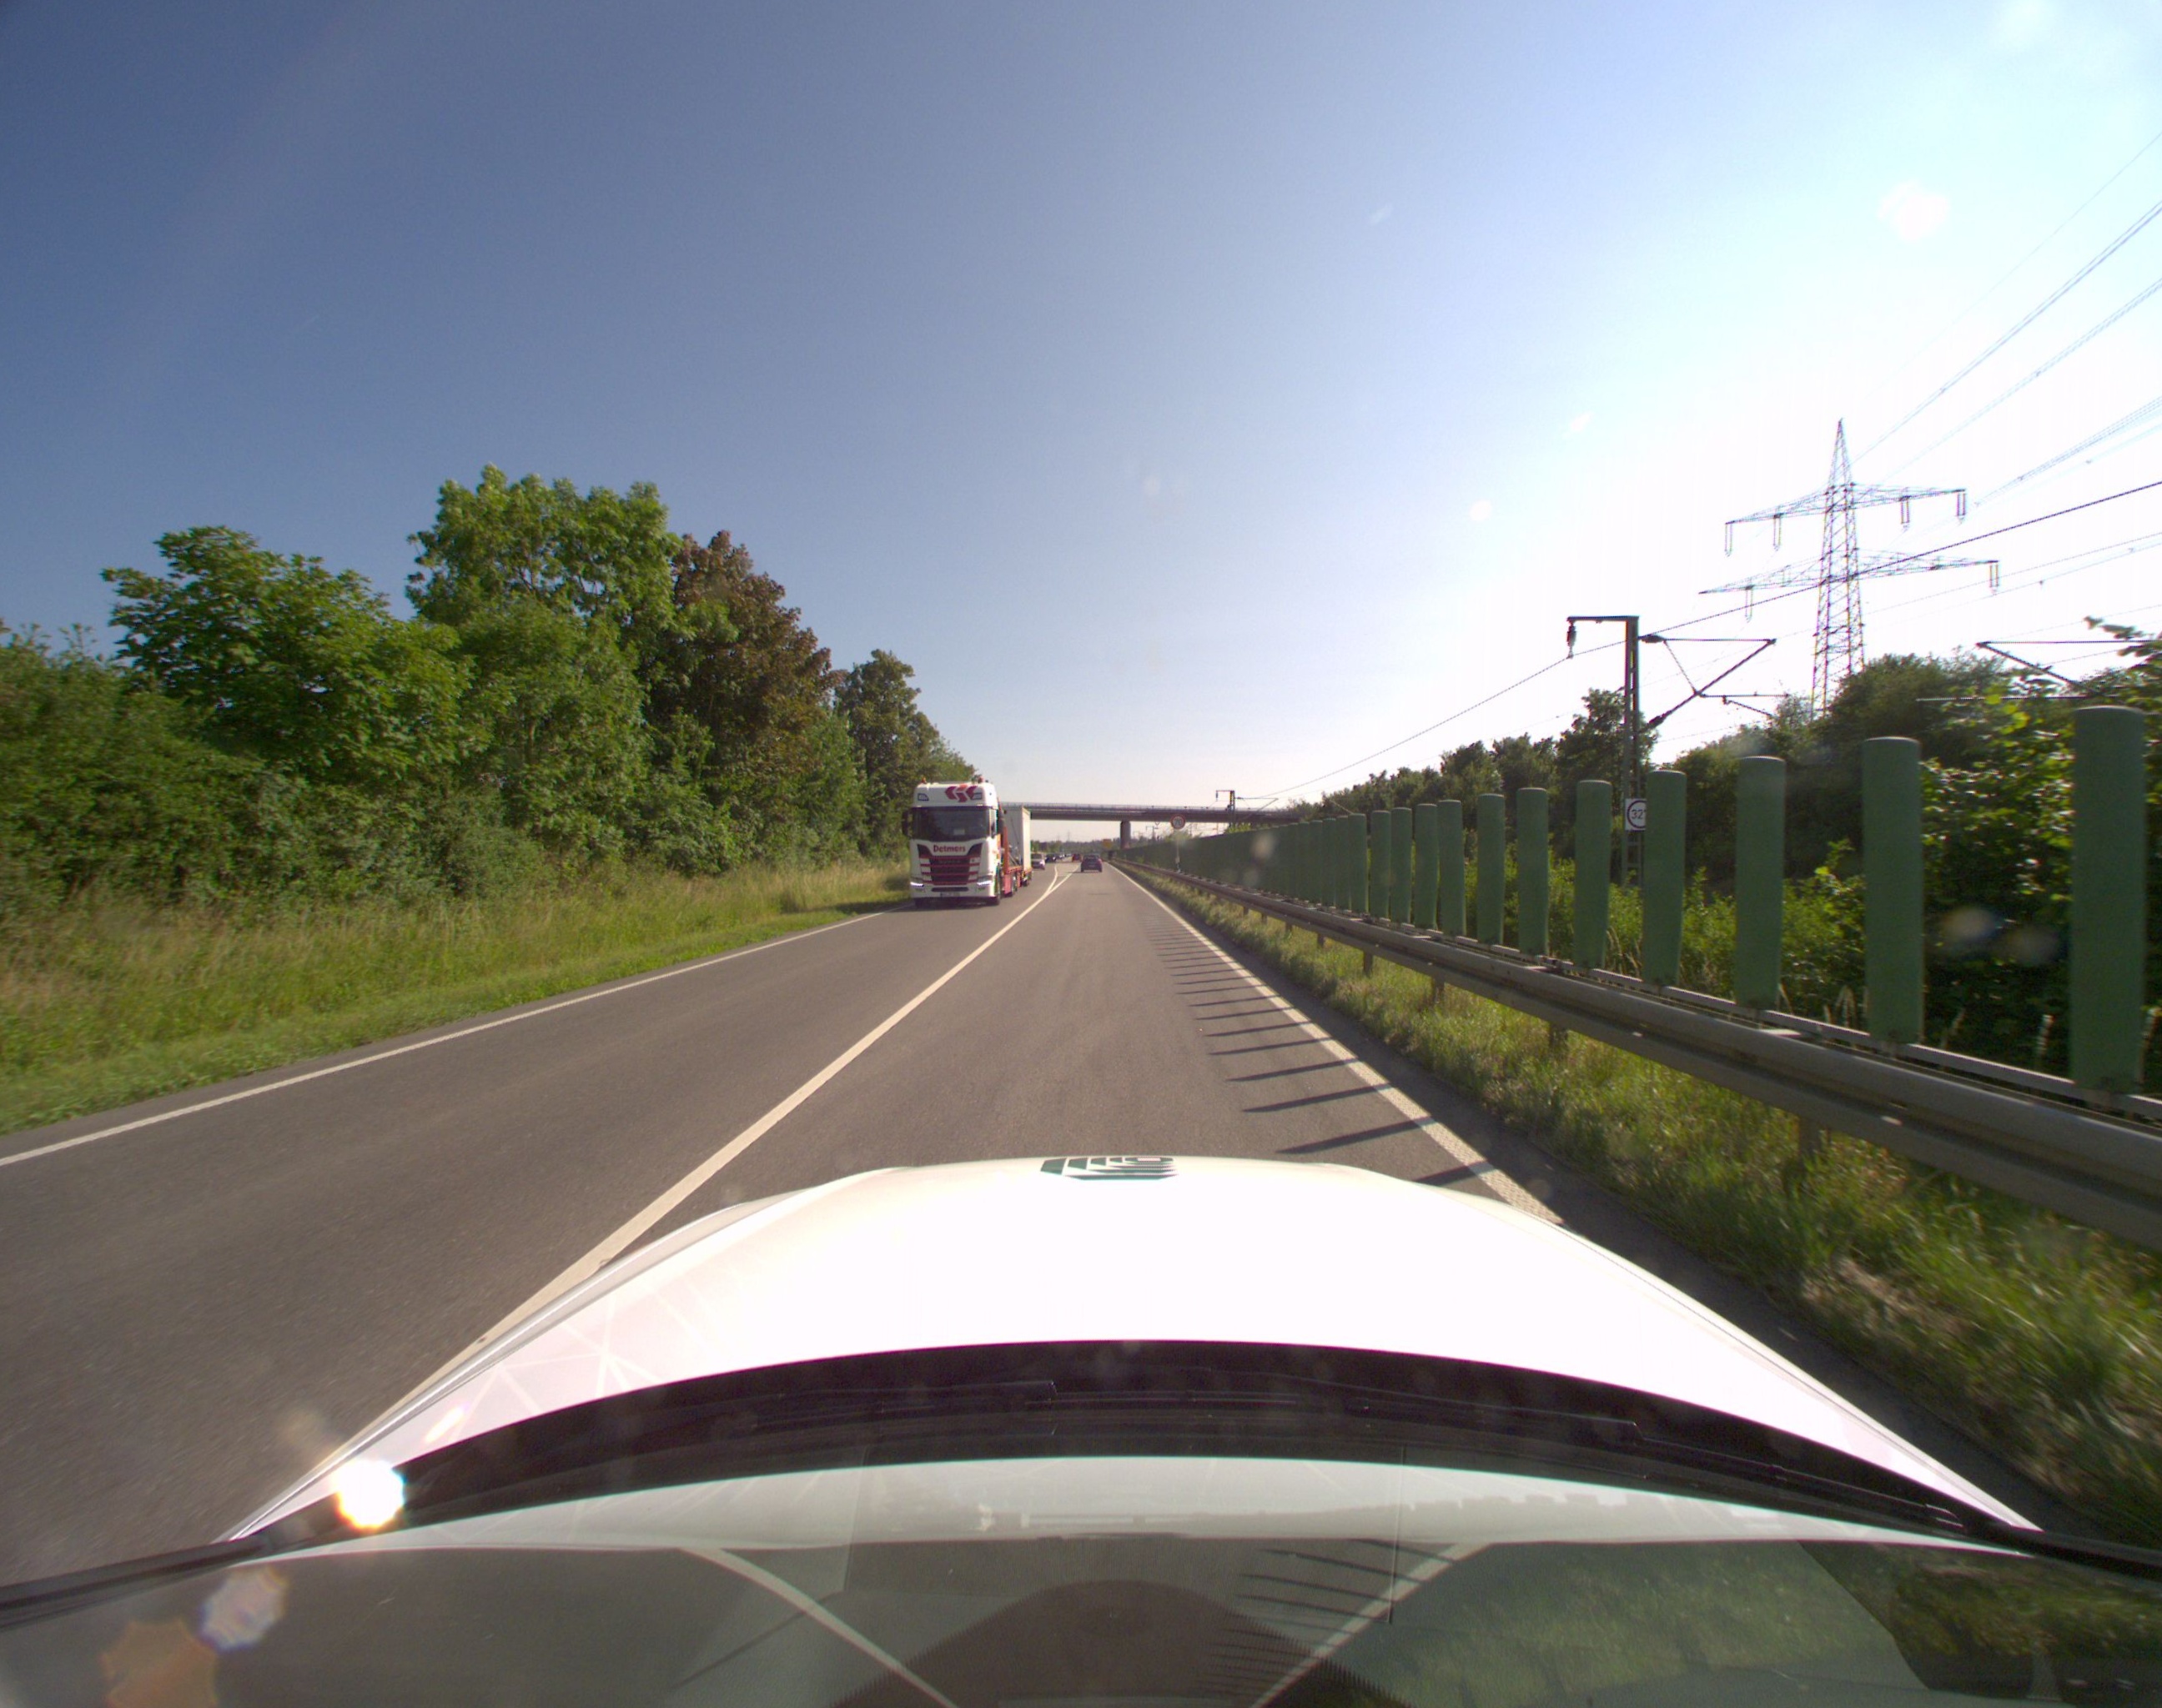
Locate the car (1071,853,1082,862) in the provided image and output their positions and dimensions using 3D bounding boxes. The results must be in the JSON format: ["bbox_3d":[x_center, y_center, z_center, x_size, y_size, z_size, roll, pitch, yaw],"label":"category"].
[{"bbox_3d":[-0.739,0.640,143.399,1.888,1.418,4.000,-1,0,0],"label":"car"}]

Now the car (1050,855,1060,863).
[{"bbox_3d":[-5.541,1.008,172.946,1.917,1.593,4.426,0,0,-2],"label":"car"}]

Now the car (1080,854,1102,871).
[{"bbox_3d":[0.812,0.676,64.671,1.658,1.261,4.000,-1,0,1],"label":"car"}]

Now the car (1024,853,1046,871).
[{"bbox_3d":[-4.203,0.729,74.818,1.851,1.559,3.998,-1,0,-1],"label":"car"}]

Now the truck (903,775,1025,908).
[{"bbox_3d":[-3.651,-0.370,28.158,2.551,3.688,10.488,-1,0,1],"label":"truck"}]

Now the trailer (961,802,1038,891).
[{"bbox_3d":[-3.566,-0.324,37.576,2.551,3.595,8.293,-1,0,1],"label":"trailer"}]

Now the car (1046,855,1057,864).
[{"bbox_3d":[-4.866,0.868,133.927,1.745,1.481,3.998,-1,0,-1],"label":"car"}]
